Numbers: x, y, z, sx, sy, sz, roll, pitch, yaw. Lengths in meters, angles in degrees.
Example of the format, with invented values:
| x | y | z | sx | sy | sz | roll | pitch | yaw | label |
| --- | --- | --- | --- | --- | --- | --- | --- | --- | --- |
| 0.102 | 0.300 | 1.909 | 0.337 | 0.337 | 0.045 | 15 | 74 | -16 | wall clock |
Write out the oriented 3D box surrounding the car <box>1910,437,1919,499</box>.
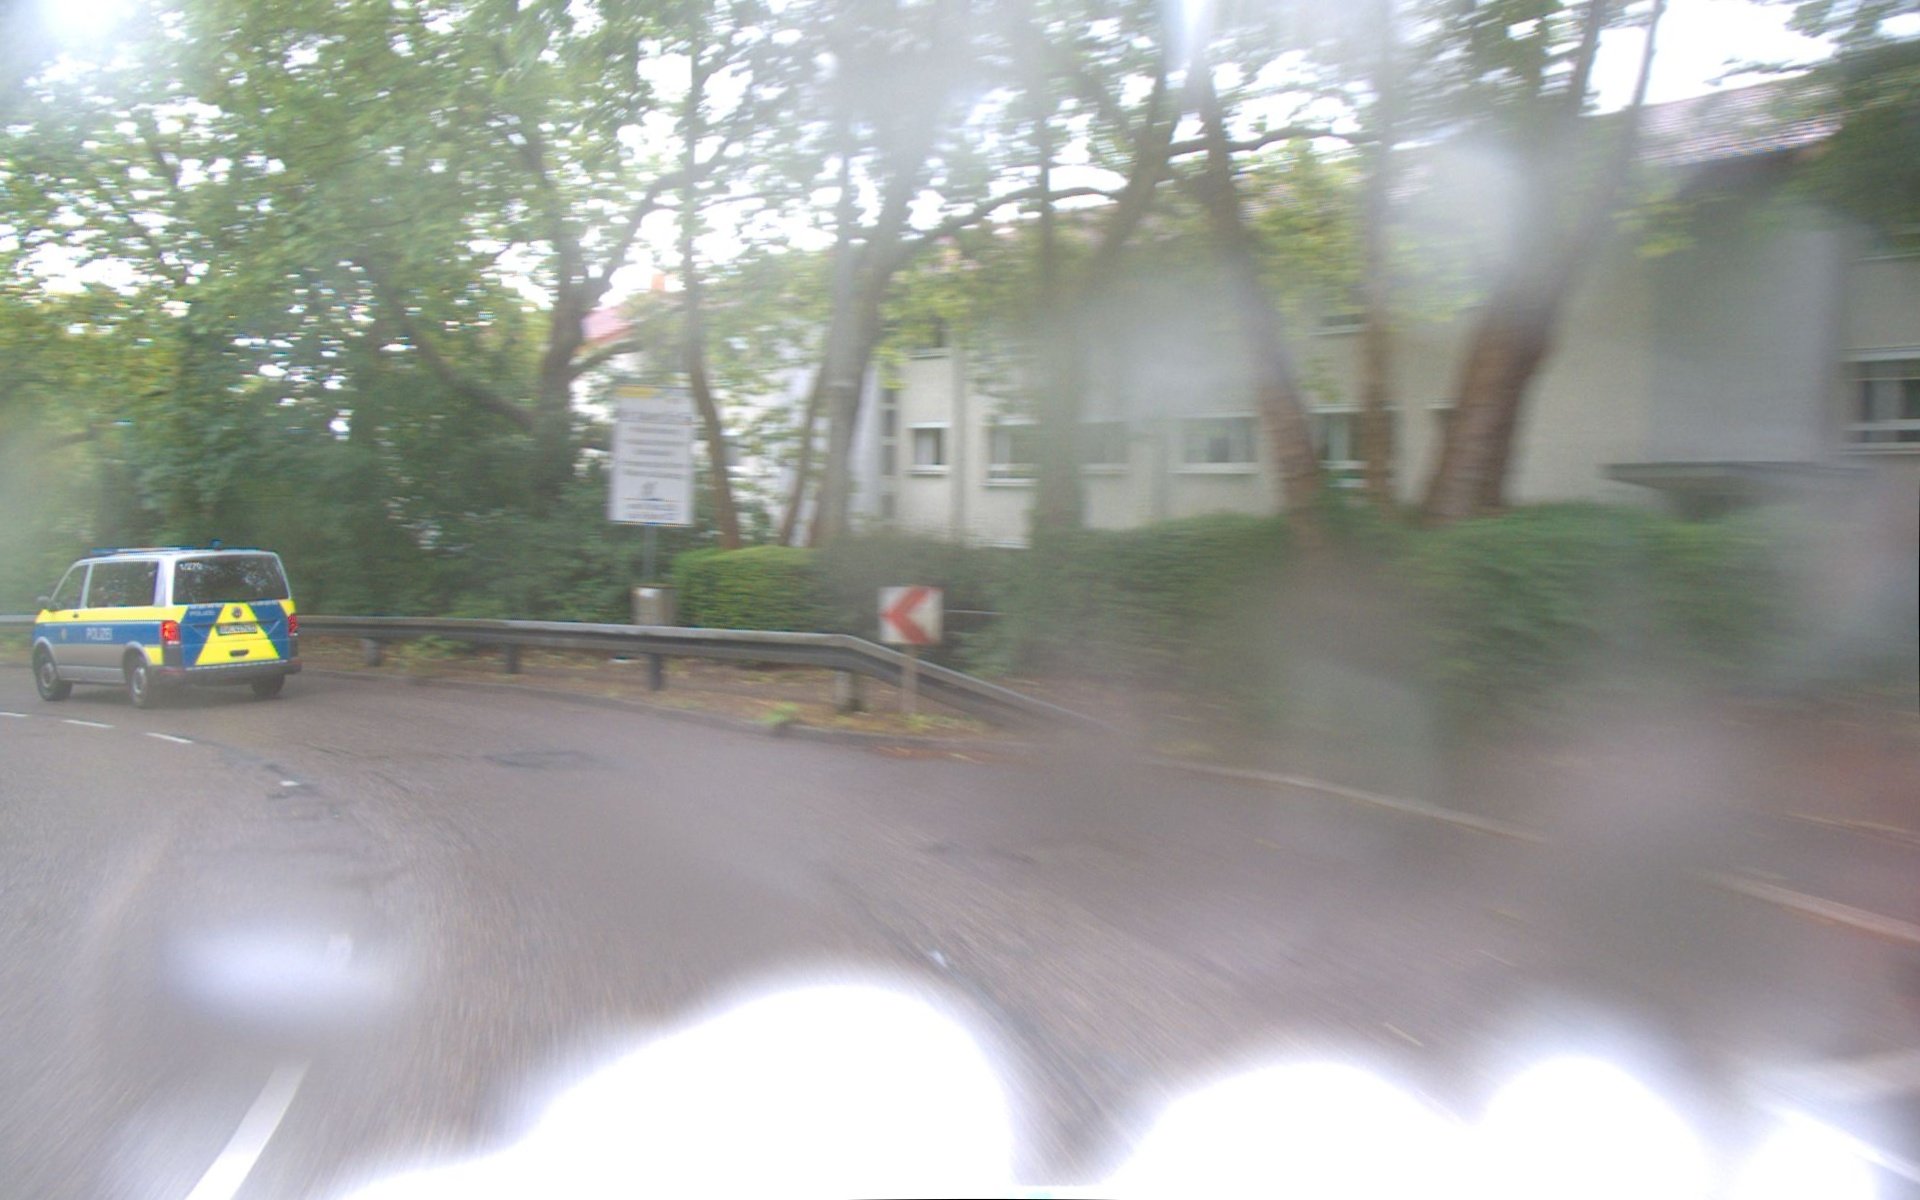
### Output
| x | y | z | sx | sy | sz | roll | pitch | yaw | label |
| --- | --- | --- | --- | --- | --- | --- | --- | --- | --- |
| 7.266 | -0.324 | 7.789 | 4.308 | 1.873 | 2.001 | -10 | -1 | 19 | car |

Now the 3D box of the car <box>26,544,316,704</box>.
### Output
| x | y | z | sx | sy | sz | roll | pitch | yaw | label |
| --- | --- | --- | --- | --- | --- | --- | --- | --- | --- |
| -10.766 | 0.278 | 22.439 | 4.489 | 1.926 | 1.988 | -1 | 2 | 43 | car |

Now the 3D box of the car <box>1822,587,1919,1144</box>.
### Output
| x | y | z | sx | sy | sz | roll | pitch | yaw | label |
| --- | --- | --- | --- | --- | --- | --- | --- | --- | --- |
| 3.543 | 0.632 | 2.546 | 1.747 | 1.391 | 4.186 | -1 | 0 | -10 | car |
